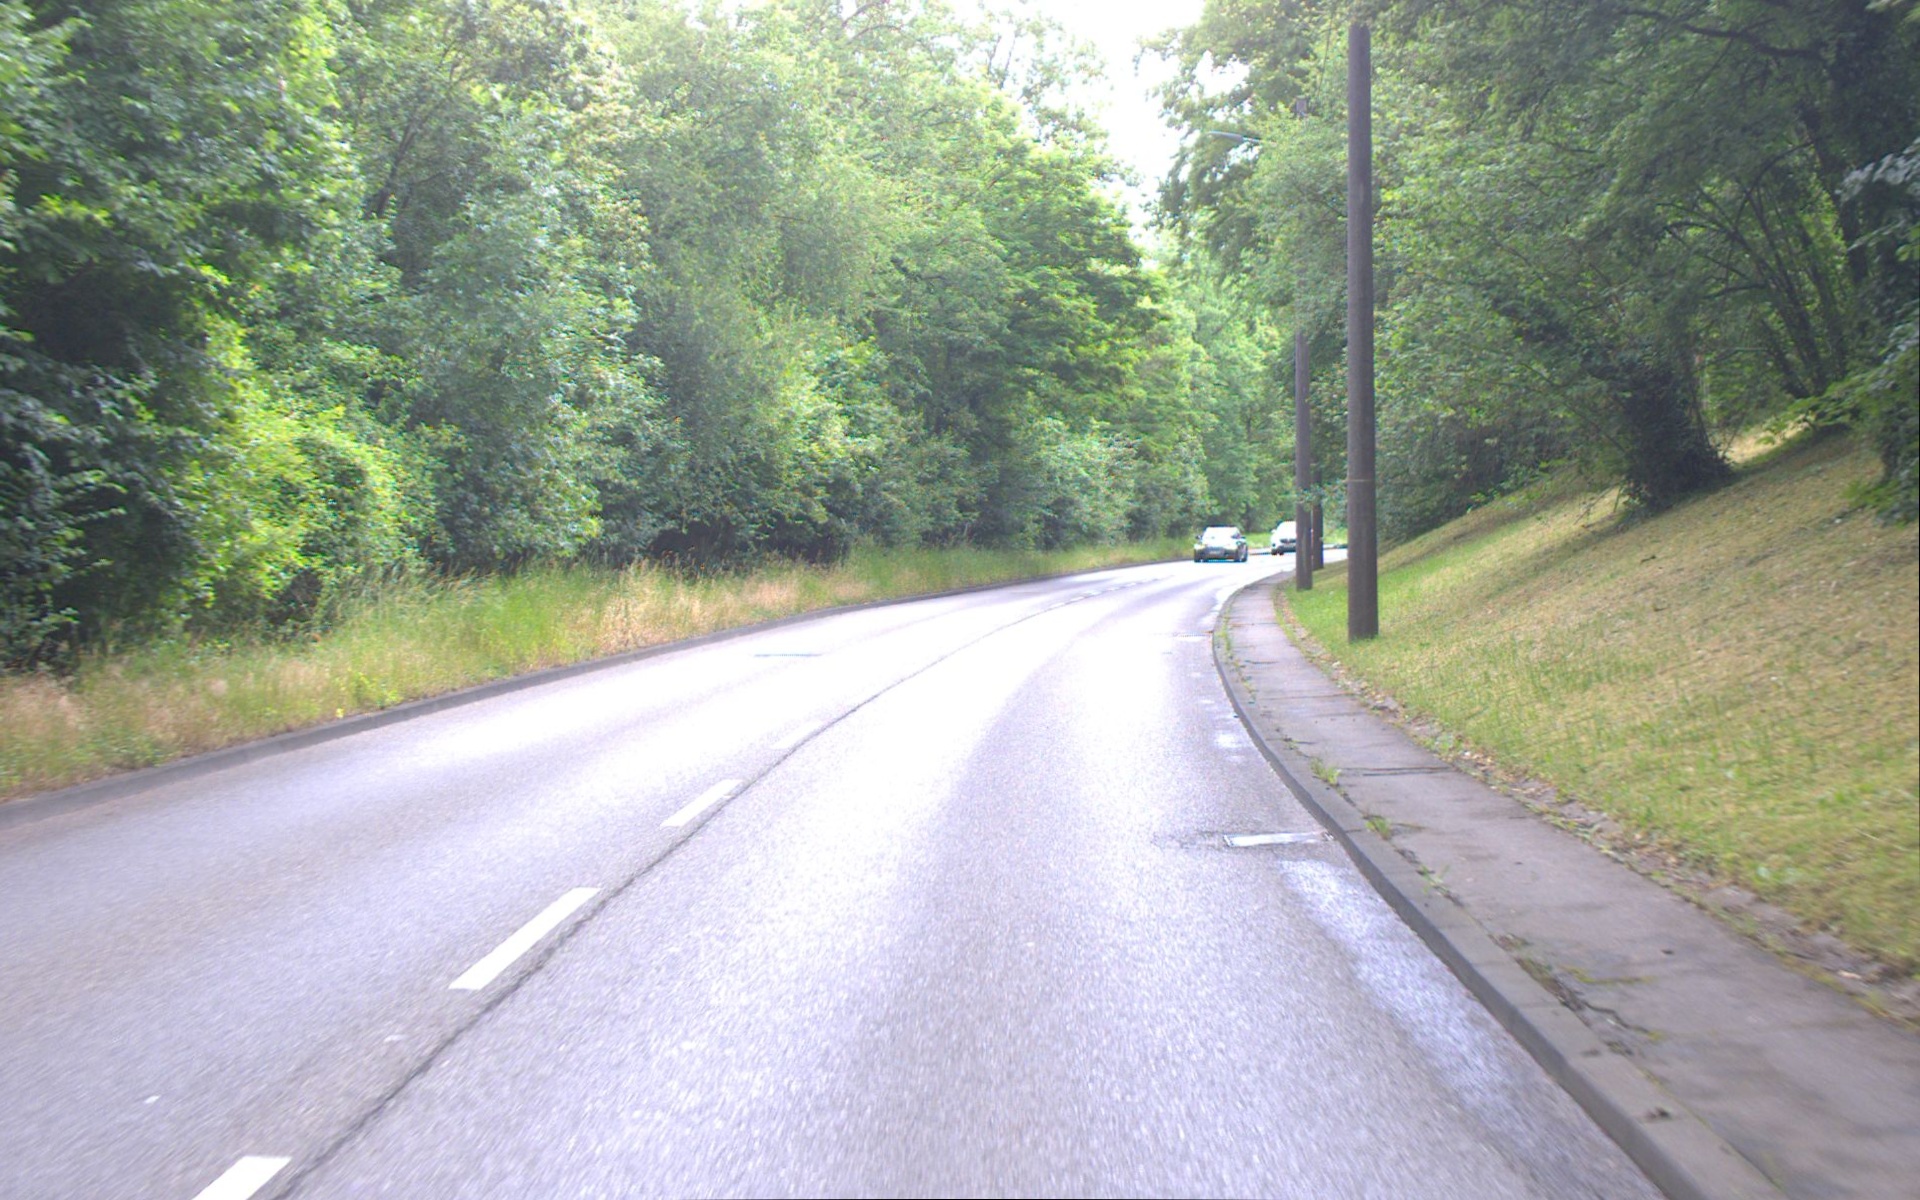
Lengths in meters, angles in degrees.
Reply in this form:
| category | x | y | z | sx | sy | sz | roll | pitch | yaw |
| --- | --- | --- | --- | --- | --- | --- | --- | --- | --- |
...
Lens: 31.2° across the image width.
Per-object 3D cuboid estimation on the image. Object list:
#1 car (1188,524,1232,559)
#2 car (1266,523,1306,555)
| category | x | y | z | sx | sy | sz | roll | pitch | yaw |
| --- | --- | --- | --- | --- | --- | --- | --- | --- | --- |
| car | 10.333 | -2.412 | 142.028 | 1.810 | 1.415 | 4.000 | 0 | 1 | 4 |
| car | 16.315 | -3.065 | 172.086 | 1.942 | 1.576 | 4.440 | 0 | 1 | 4 |
